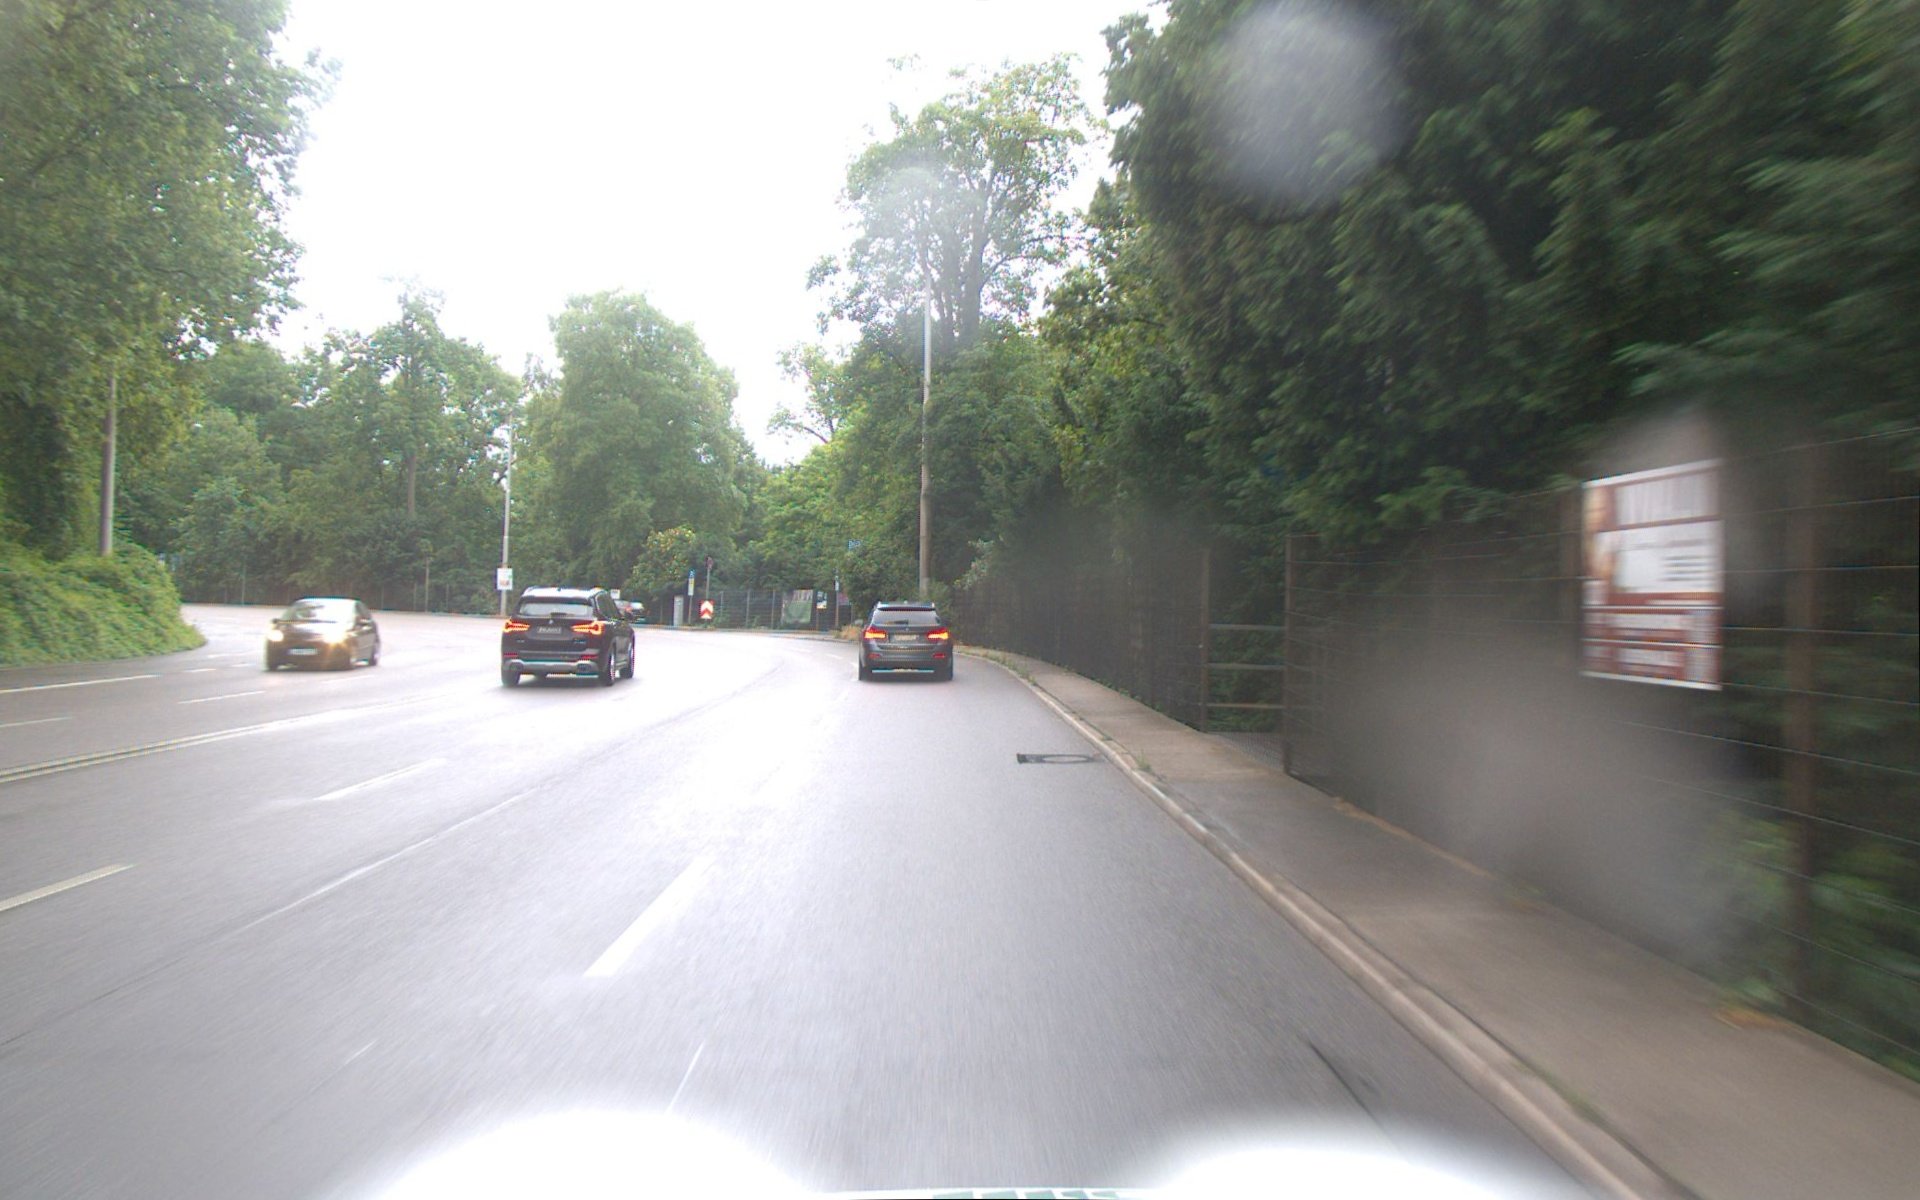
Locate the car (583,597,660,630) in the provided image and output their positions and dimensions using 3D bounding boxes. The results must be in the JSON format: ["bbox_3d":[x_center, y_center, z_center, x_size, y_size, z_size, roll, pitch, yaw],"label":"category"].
[{"bbox_3d":[-17.875,0.708,87.148,4.293,1.451,1.682,2,-3,42],"label":"car"}]

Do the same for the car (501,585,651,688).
[{"bbox_3d":[-6.715,0.595,29.350,1.722,1.613,4.410,3,0,-2],"label":"car"}]

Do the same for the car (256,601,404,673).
[{"bbox_3d":[-12.918,0.721,34.150,1.667,1.363,3.913,1,0,-2],"label":"car"}]

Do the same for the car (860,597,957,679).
[{"bbox_3d":[-1.026,0.692,32.260,1.722,1.457,4.410,1,0,-2],"label":"car"}]
